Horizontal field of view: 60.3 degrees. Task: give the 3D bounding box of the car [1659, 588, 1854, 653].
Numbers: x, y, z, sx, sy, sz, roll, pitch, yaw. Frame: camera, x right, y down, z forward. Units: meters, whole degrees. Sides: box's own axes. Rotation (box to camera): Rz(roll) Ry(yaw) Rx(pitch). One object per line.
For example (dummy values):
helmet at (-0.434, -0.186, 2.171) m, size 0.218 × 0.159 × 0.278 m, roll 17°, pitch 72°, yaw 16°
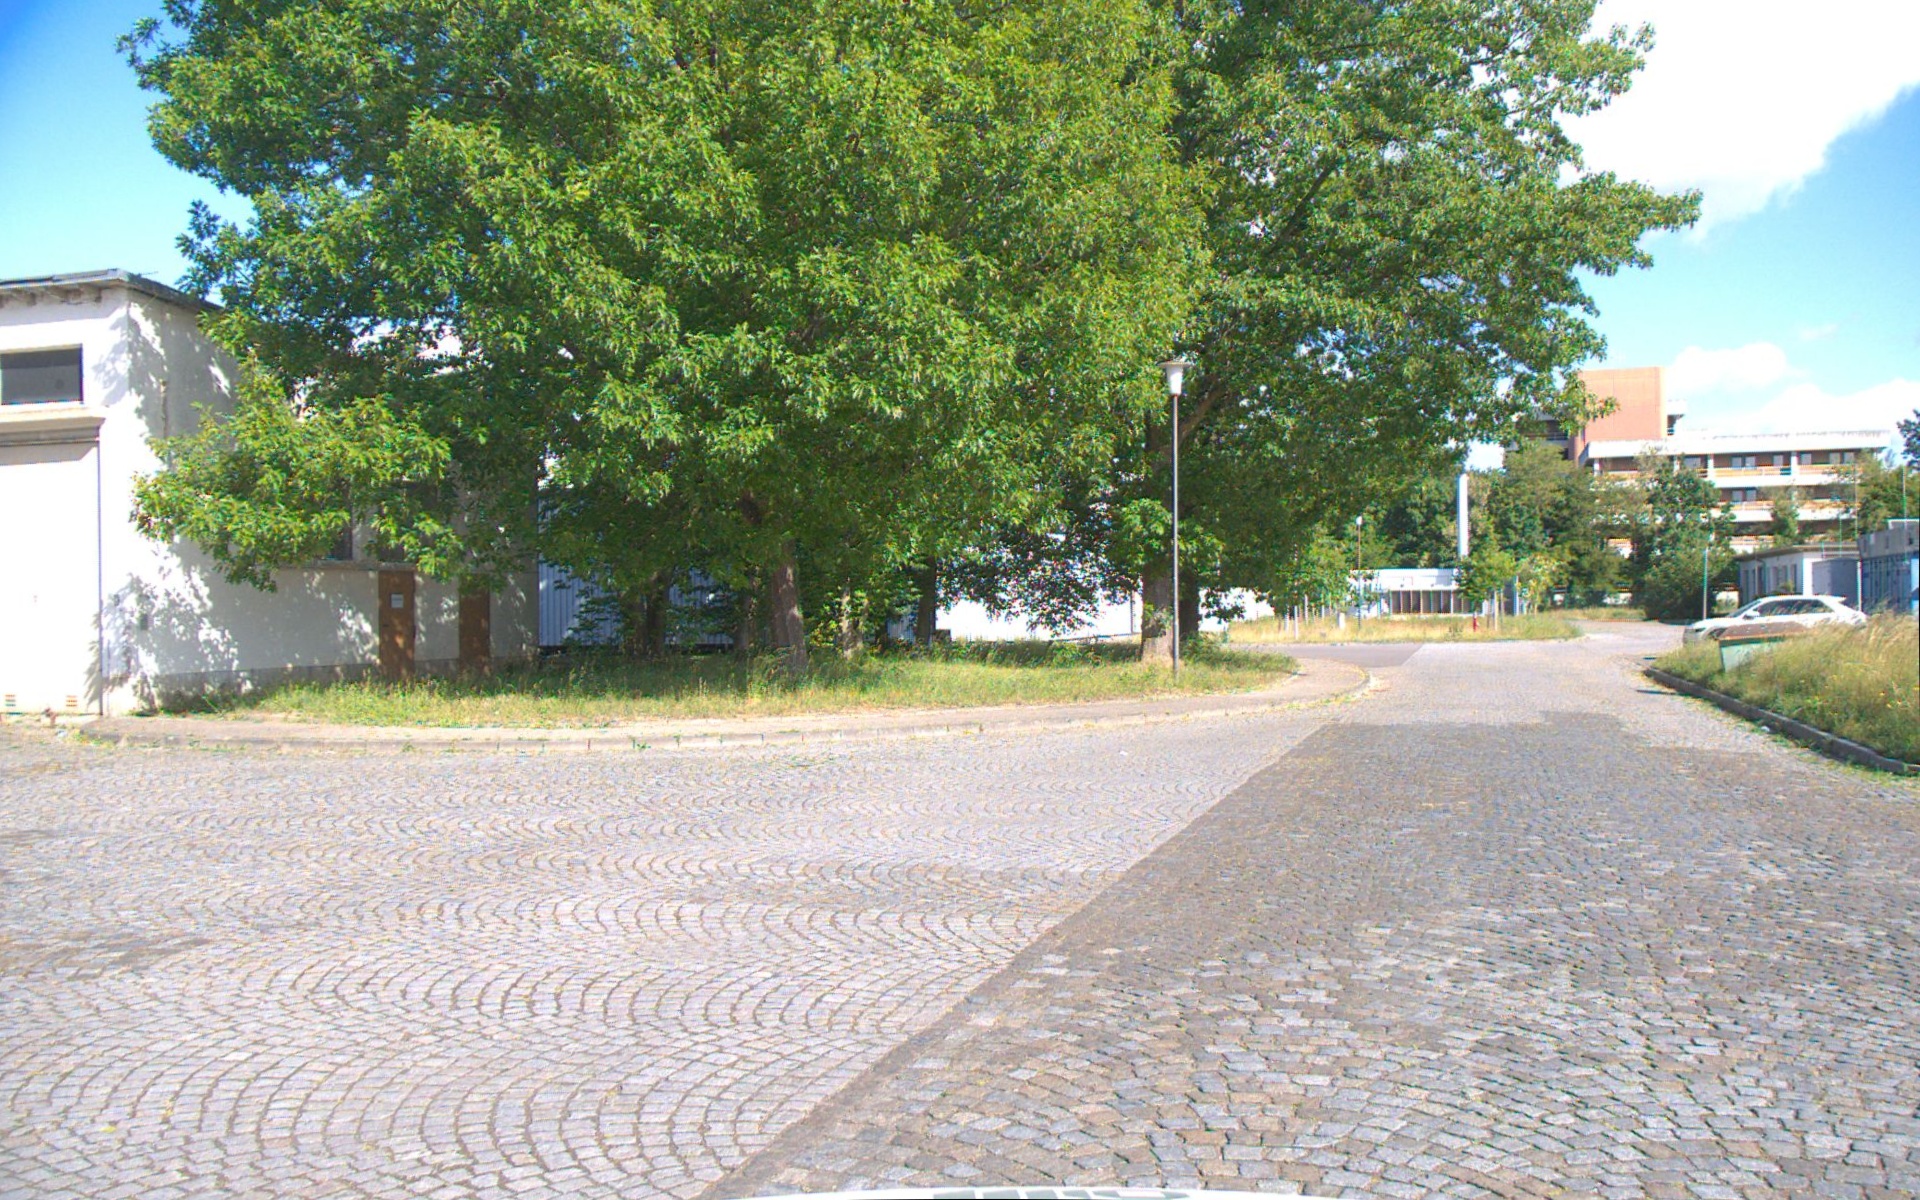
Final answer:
car at (21.530, 0.553, 44.894) m, size 4.491 × 1.707 × 1.876 m, roll -1°, pitch 0°, yaw 17°
